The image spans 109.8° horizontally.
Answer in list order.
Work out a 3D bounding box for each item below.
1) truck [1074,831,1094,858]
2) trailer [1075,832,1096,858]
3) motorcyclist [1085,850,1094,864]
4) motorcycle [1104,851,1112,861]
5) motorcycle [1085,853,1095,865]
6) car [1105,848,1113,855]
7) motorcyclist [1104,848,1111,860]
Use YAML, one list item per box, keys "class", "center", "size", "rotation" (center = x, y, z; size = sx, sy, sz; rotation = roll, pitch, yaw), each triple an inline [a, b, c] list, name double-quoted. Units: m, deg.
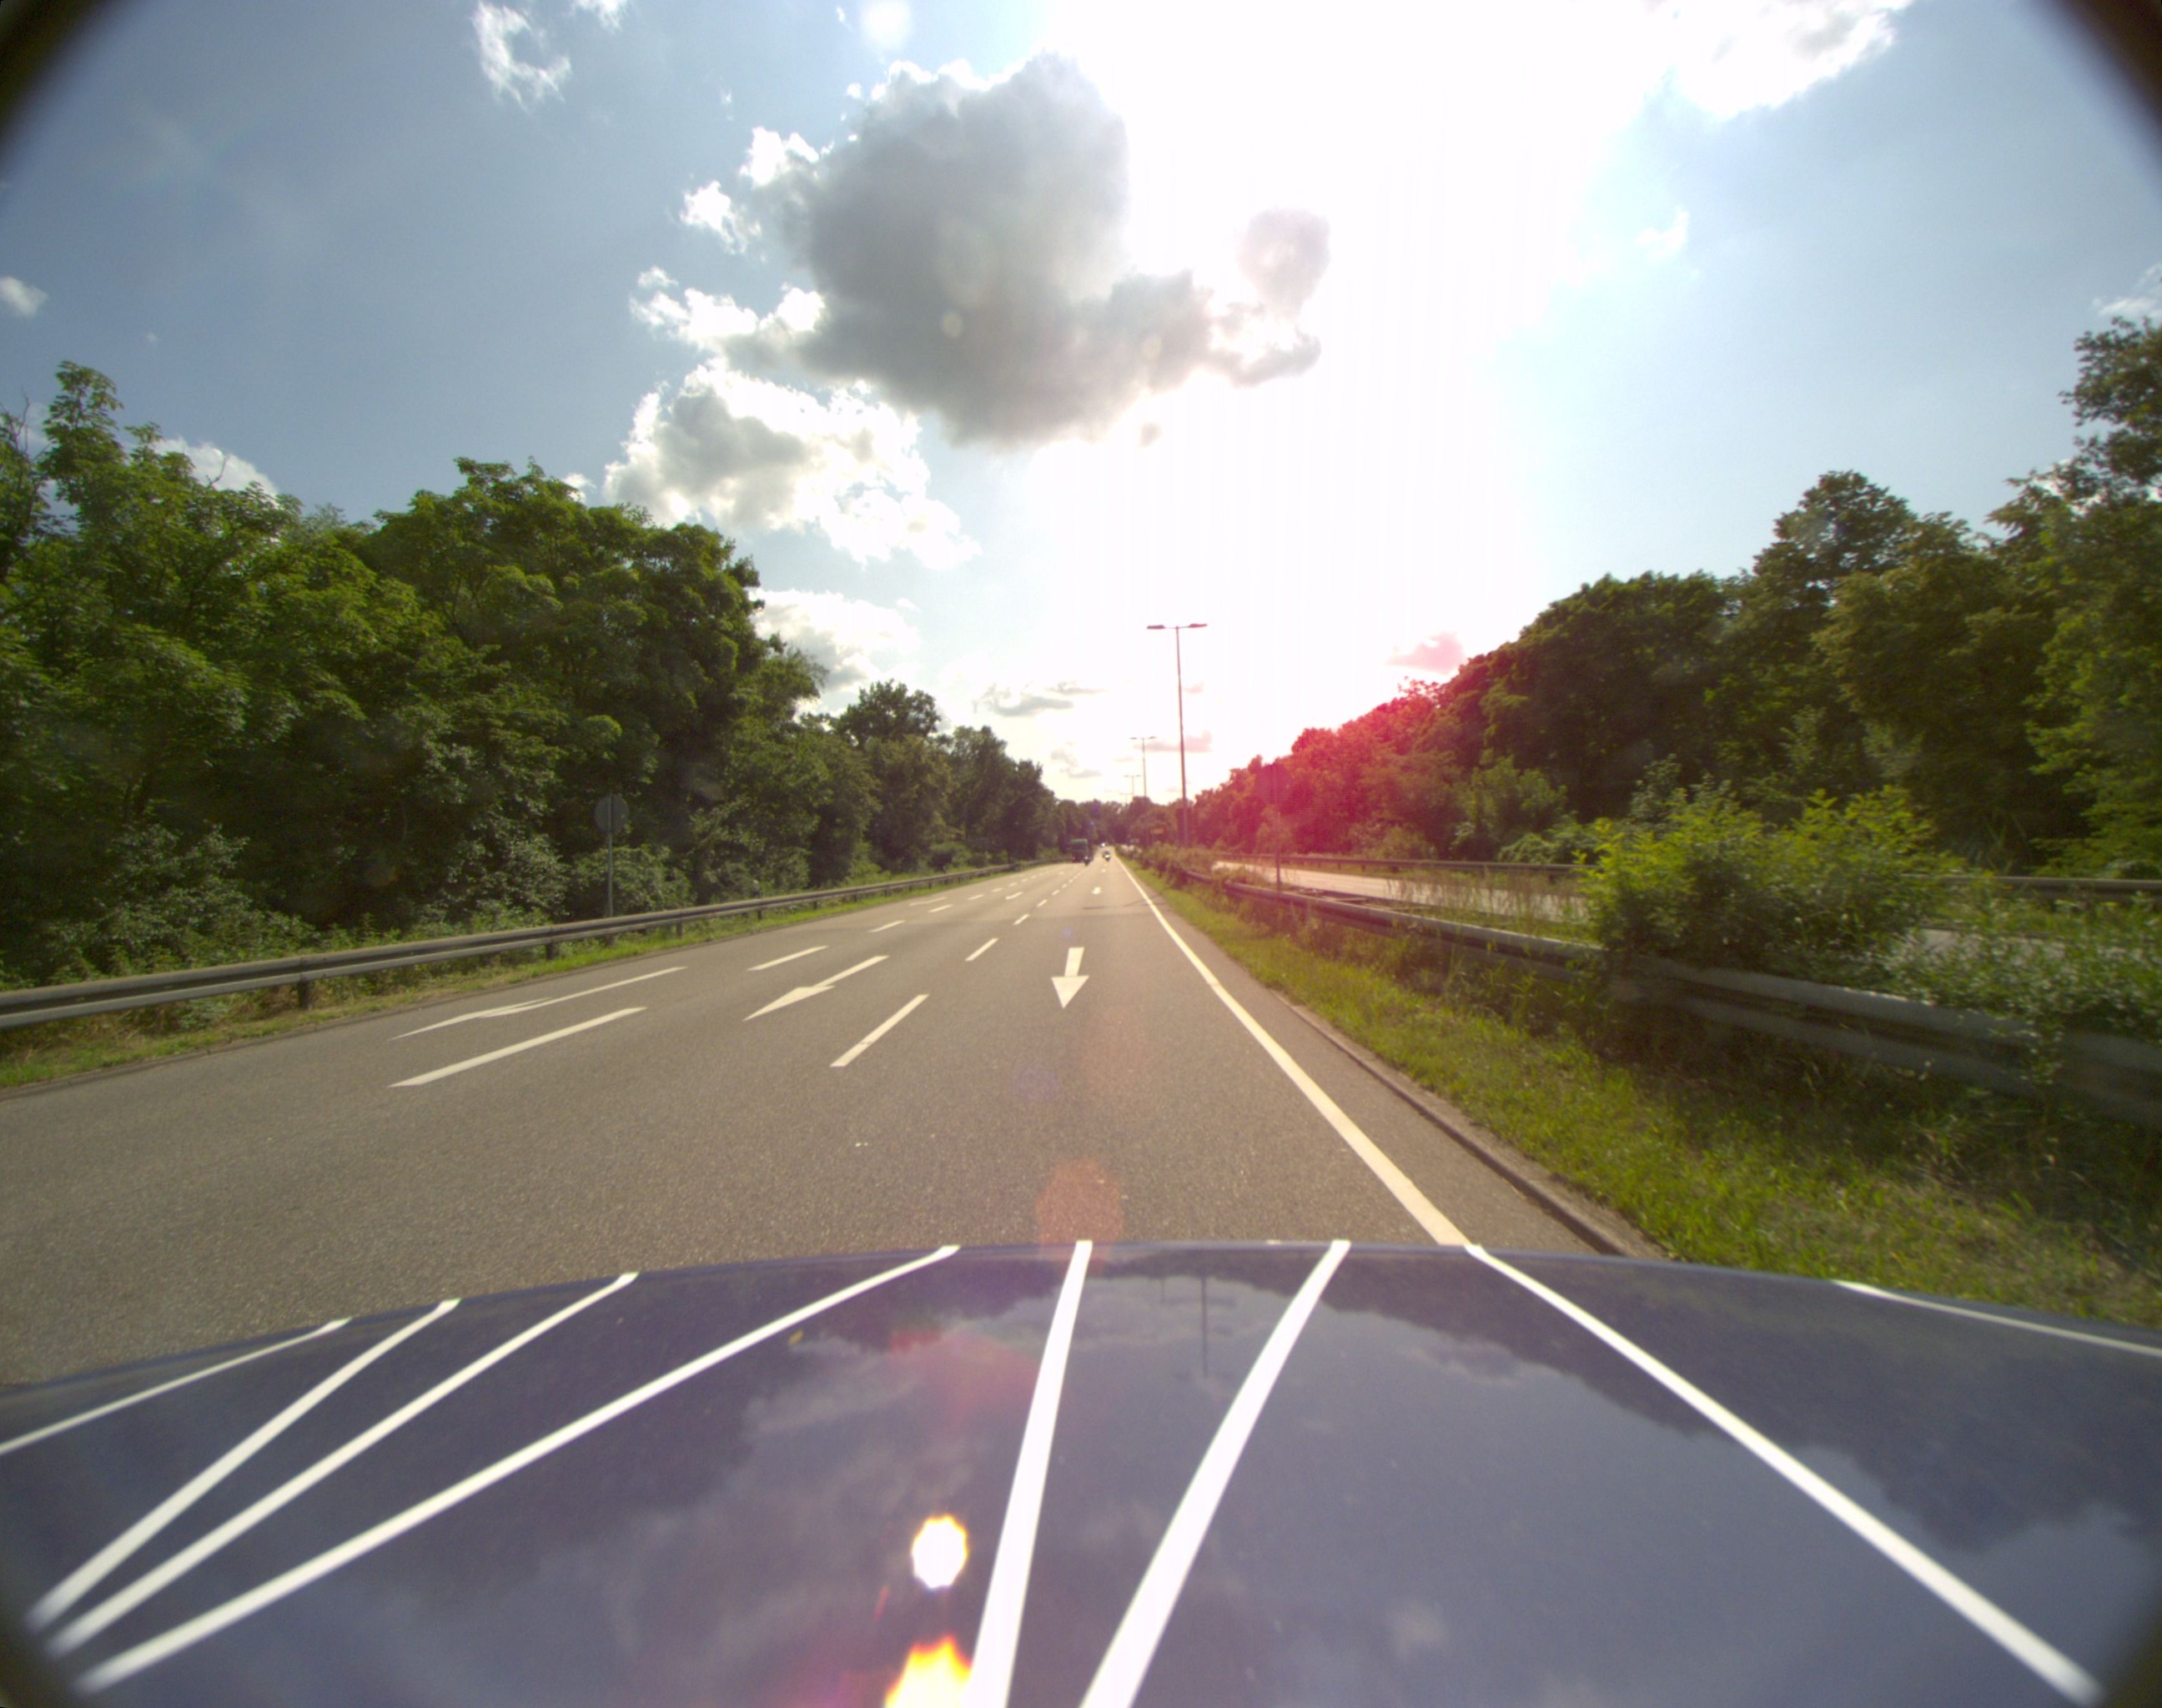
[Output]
- class: "truck"
  center: [0.530, -1.385, 117.489]
  size: [2.591, 3.871, 6.063]
  rotation: [-4, 0, 3]
- class: "trailer"
  center: [0.839, -1.403, 124.382]
  size: [2.591, 3.871, 14.504]
  rotation: [-4, 0, 3]
- class: "motorcyclist"
  center: [1.019, 0.311, 87.440]
  size: [0.939, 1.581, 1.083]
  rotation: [-2, 0, 2]
- class: "motorcycle"
  center: [3.769, 0.325, 105.897]
  size: [0.867, 1.381, 2.371]
  rotation: [-2, 0, 4]
- class: "motorcycle"
  center: [1.040, 0.547, 87.646]
  size: [0.939, 1.375, 2.370]
  rotation: [-2, 0, 2]
- class: "car"
  center: [6.337, -0.571, 174.506]
  size: [1.735, 1.468, 4.047]
  rotation: [-2, 0, 3]
- class: "motorcyclist"
  center: [3.743, 0.027, 105.665]
  size: [0.867, 1.690, 0.895]
  rotation: [-2, 0, 3]
